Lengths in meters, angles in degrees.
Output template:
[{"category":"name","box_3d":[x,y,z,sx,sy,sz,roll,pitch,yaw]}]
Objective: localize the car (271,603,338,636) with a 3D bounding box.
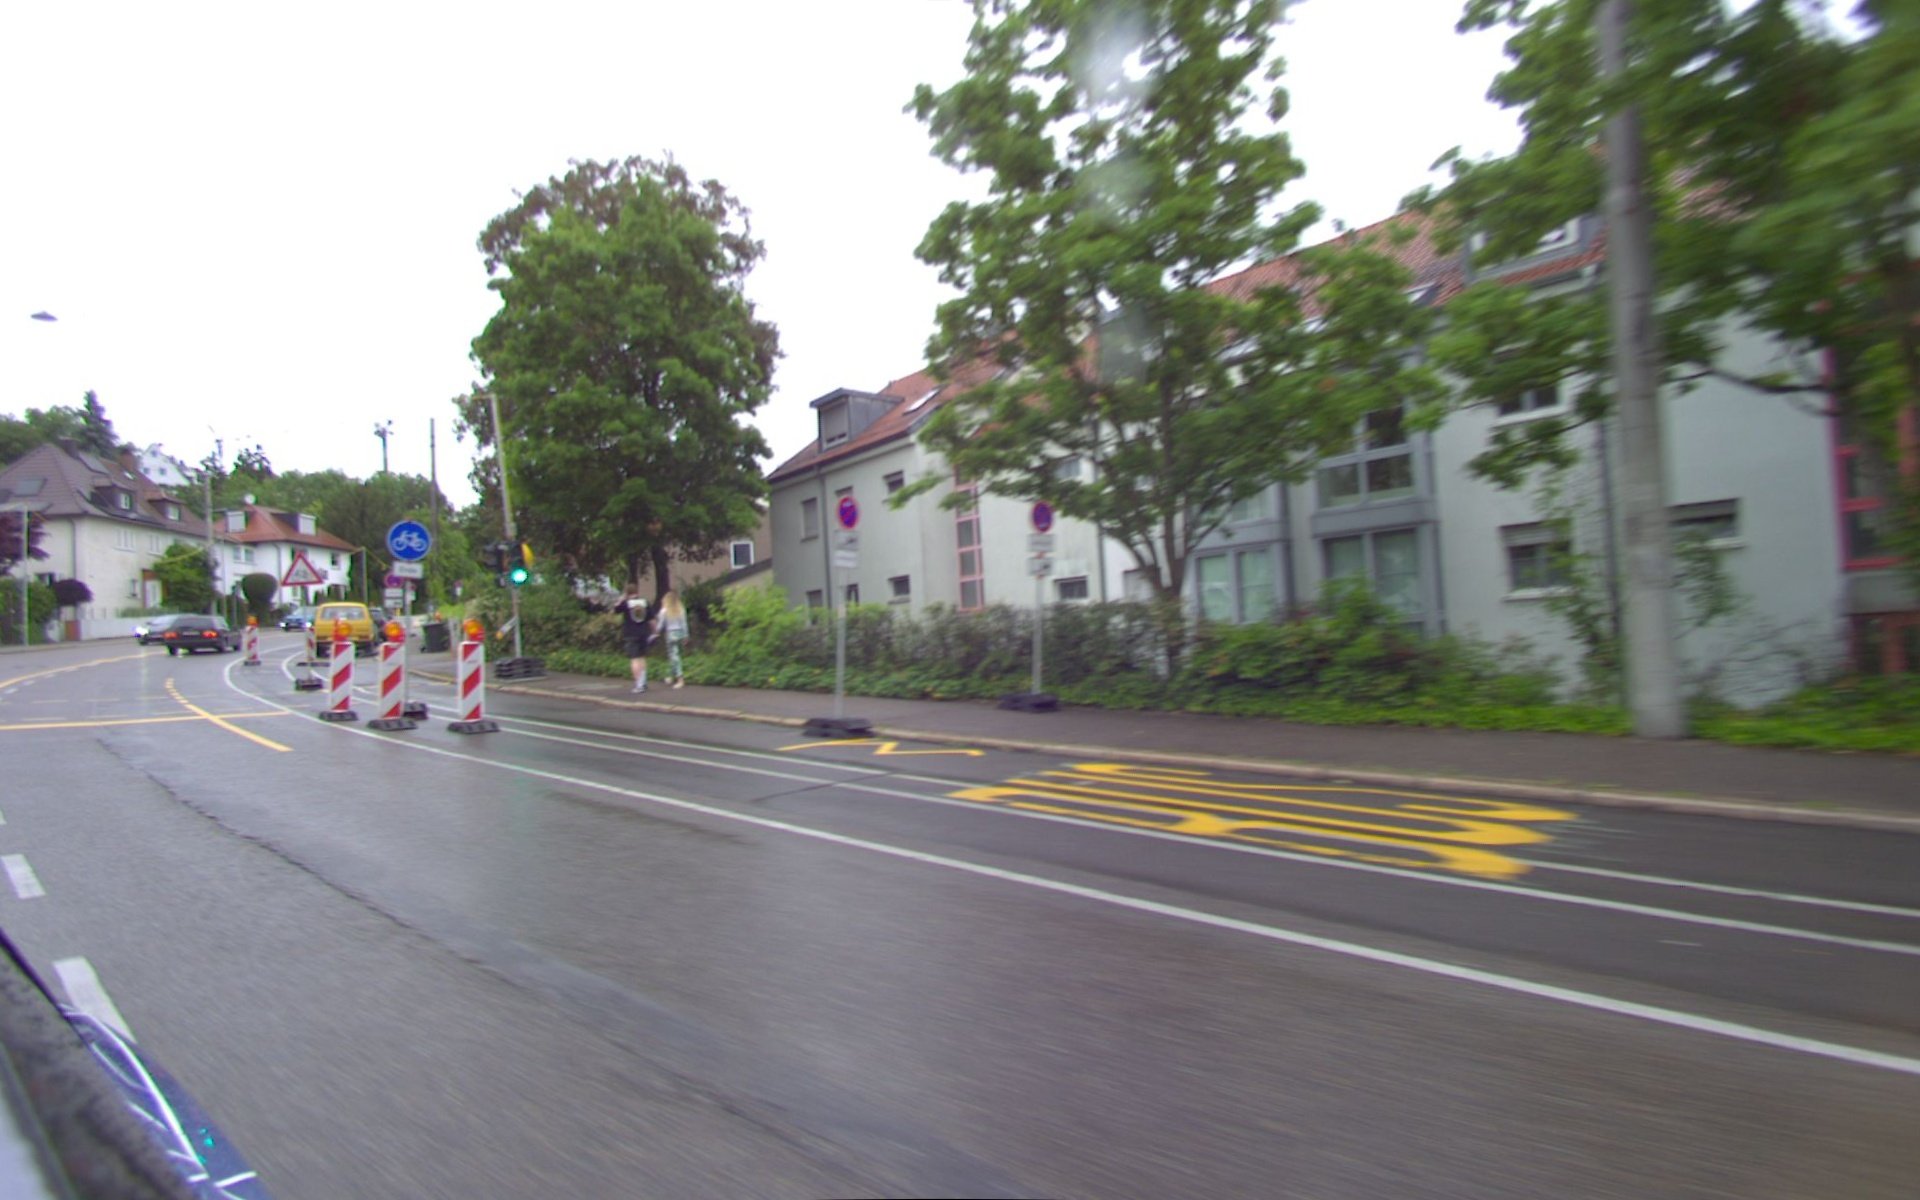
[{"category":"car","box_3d":[-42.983,1.235,66.450,1.986,1.954,4.004,-1,1,-4]}]

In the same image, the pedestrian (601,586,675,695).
[{"category":"pedestrian","box_3d":[-5.665,0.696,17.765,1.147,1.830,0.700,-3,-1,42]}]

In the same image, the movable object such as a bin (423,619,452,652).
[{"category":"movable object such as a bin","box_3d":[-18.879,1.273,36.561,0.846,1.148,0.714,-1,1,-31]}]

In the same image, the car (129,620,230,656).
[{"category":"car","box_3d":[-37.085,1.784,48.263,1.958,1.447,4.525,-2,1,-11]}]

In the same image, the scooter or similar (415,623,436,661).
[{"category":"scooter or similar","box_3d":[-19.343,1.514,36.624,0.393,1.269,1.321,-4,2,-19]}]

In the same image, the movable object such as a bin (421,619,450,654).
[{"category":"movable object such as a bin","box_3d":[-18.581,1.284,35.862,0.846,1.148,0.714,-1,1,-31]}]

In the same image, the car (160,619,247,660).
[{"category":"car","box_3d":[-29.392,1.496,39.454,1.675,1.472,4.699,0,-1,-24]}]

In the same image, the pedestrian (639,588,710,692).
[{"category":"pedestrian","box_3d":[-5.213,0.720,18.445,1.155,1.830,0.673,-3,-1,42]}]

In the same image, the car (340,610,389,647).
[{"category":"car","box_3d":[-28.304,1.319,48.185,1.695,1.620,4.477,-1,0,-27]}]

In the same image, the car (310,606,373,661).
[{"category":"car","box_3d":[-23.292,1.212,38.242,1.778,1.942,4.592,1,-1,-29]}]
